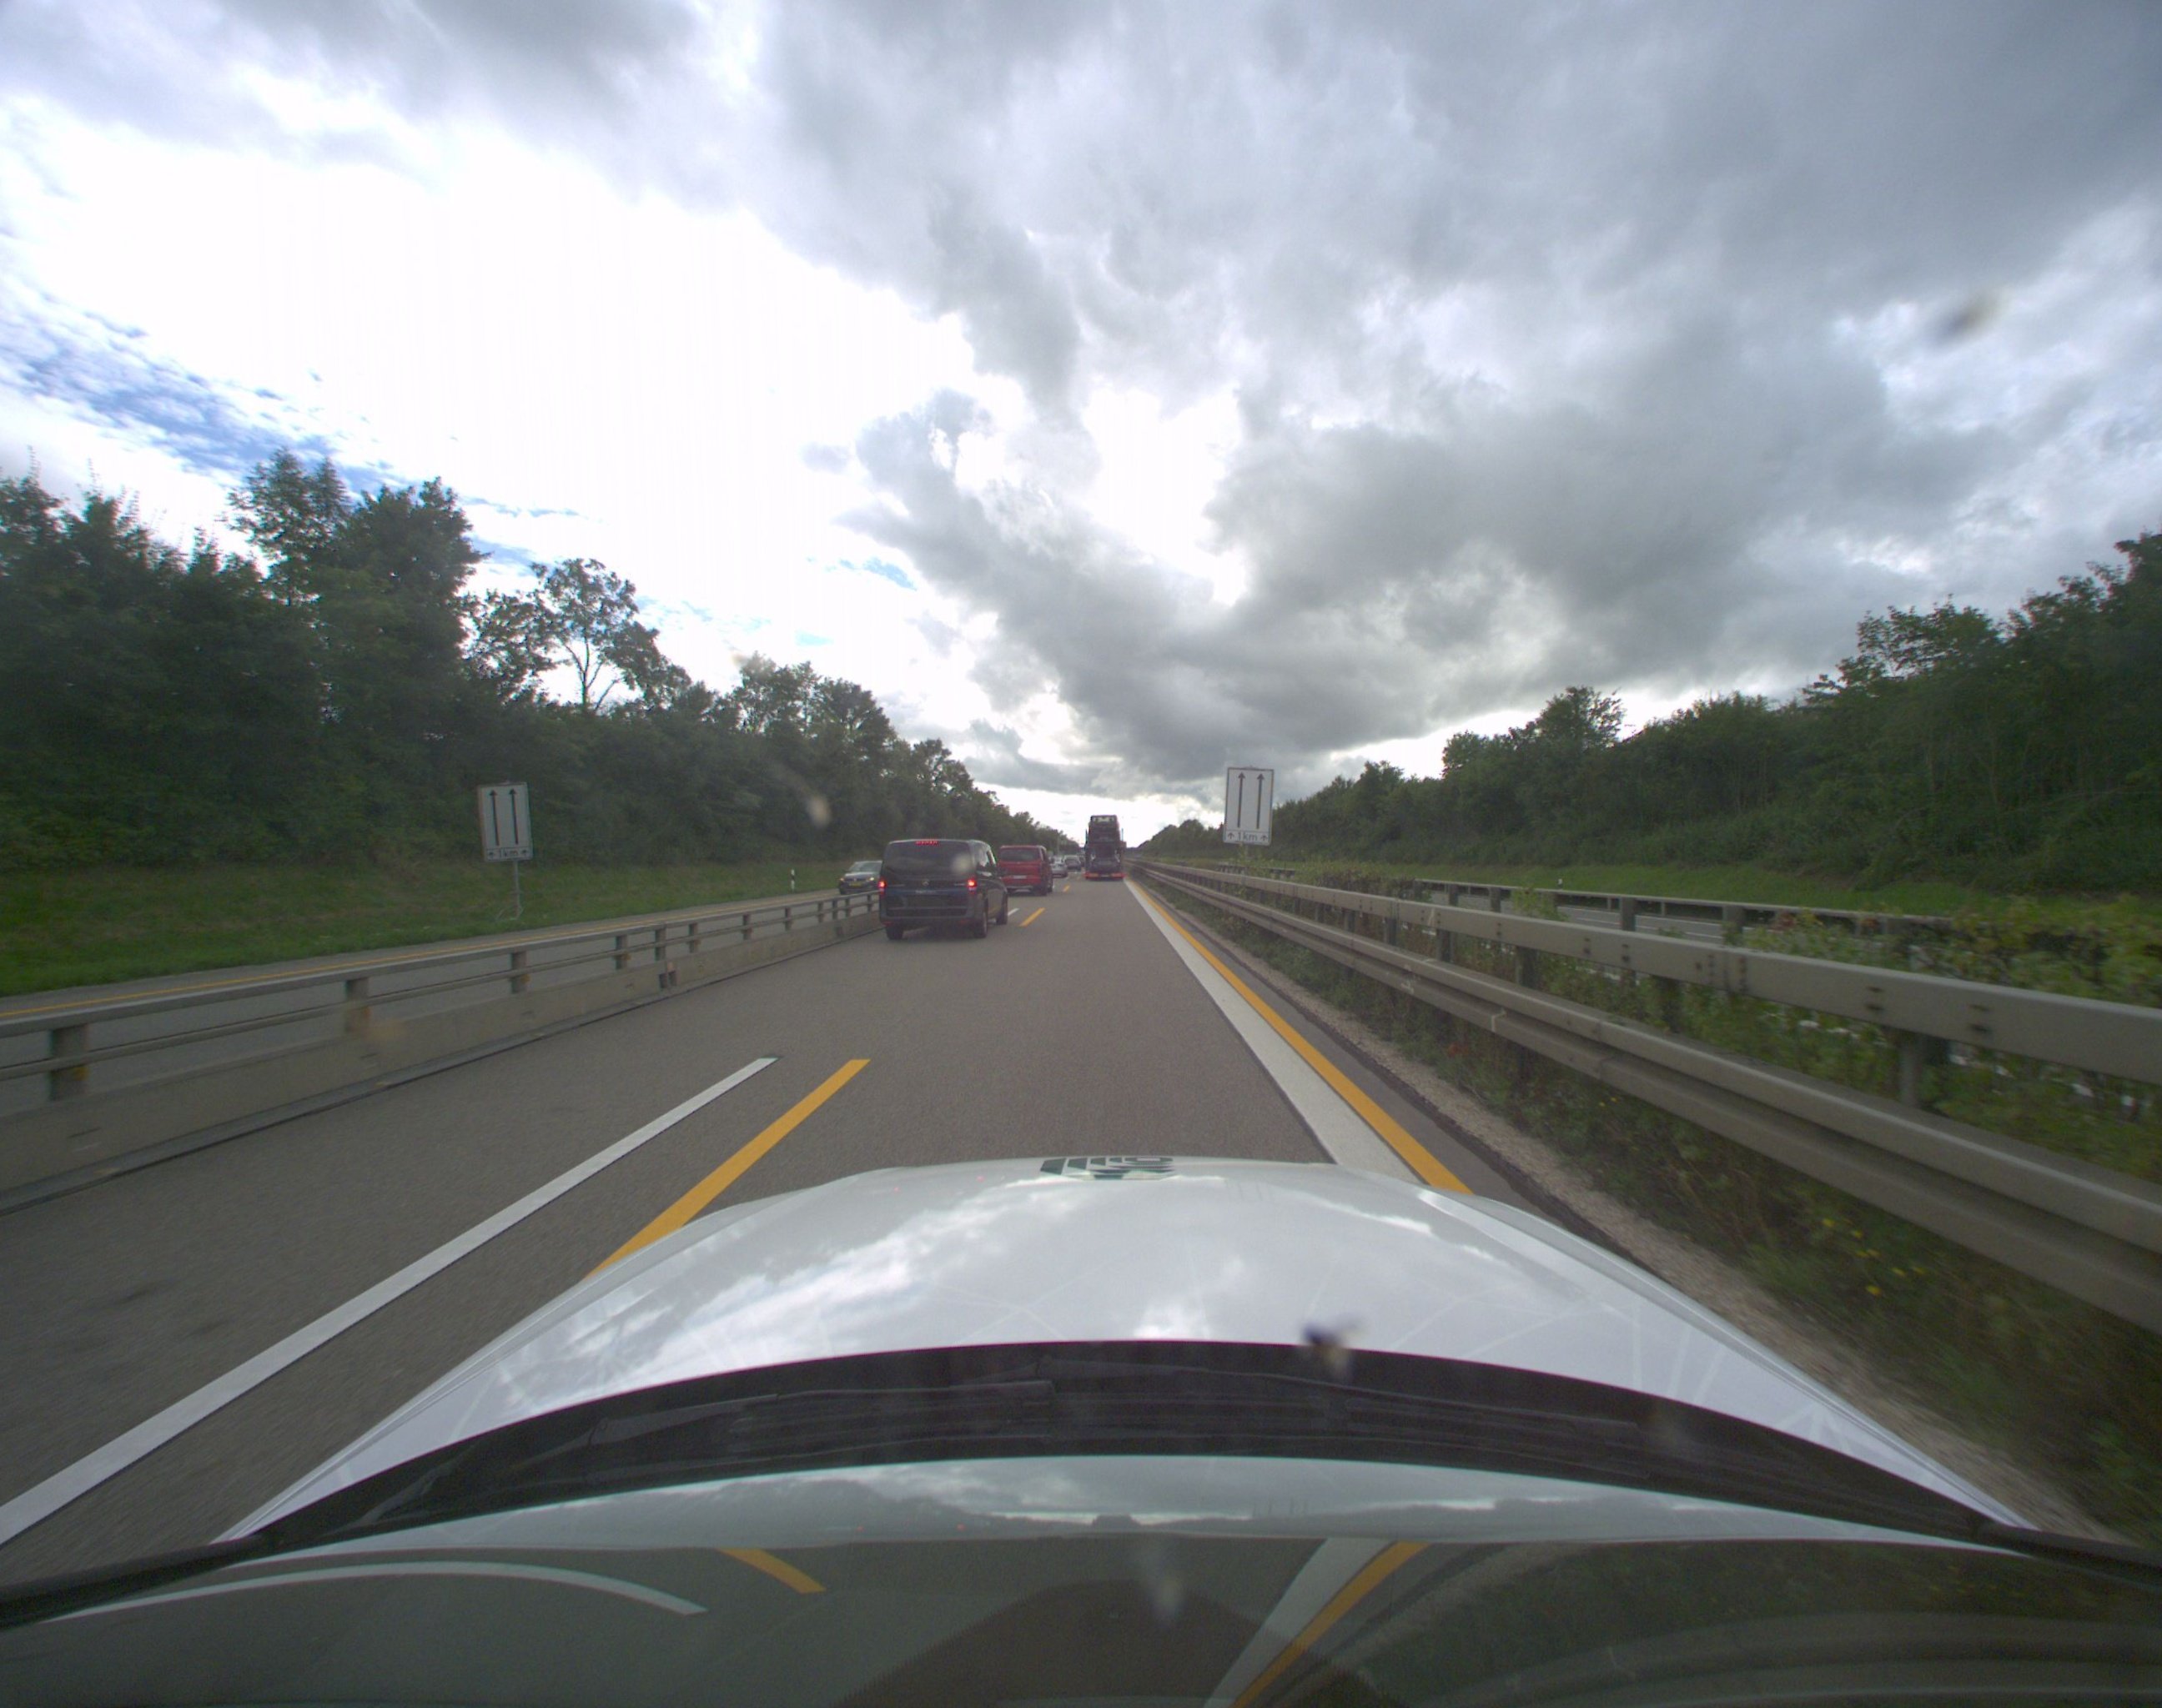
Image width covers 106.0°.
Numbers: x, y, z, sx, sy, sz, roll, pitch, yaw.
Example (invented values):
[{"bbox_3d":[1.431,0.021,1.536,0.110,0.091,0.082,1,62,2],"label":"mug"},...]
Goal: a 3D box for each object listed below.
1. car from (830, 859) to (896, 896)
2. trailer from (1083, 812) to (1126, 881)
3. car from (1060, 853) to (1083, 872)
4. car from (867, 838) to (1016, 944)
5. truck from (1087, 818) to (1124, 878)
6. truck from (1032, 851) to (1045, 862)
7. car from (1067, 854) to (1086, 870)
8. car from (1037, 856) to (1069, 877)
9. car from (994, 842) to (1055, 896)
[{"bbox_3d":[-9.234,0.954,34.779,1.662,1.440,3.788,-1,0,2],"label":"car"},{"bbox_3d":[1.605,-0.445,54.165,2.505,4.105,11.119,-1,0,2],"label":"trailer"},{"bbox_3d":[-0.901,0.800,80.385,2.024,1.757,4.578,-1,0,1],"label":"car"},{"bbox_3d":[-2.706,0.656,17.269,1.986,1.843,5.611,-1,0,2],"label":"car"},{"bbox_3d":[1.788,-0.425,58.879,2.506,4.105,5.688,-1,0,2],"label":"truck"},{"bbox_3d":[-10.331,0.637,198.562,2.480,2.718,6.670,0,0,2],"label":"truck"},{"bbox_3d":[-0.493,0.890,93.465,2.024,1.757,4.578,-1,0,1],"label":"car"},{"bbox_3d":[-2.003,0.850,59.053,2.024,1.430,4.578,-1,0,1],"label":"car"},{"bbox_3d":[-2.219,0.590,33.162,2.023,2.013,4.579,-1,0,1],"label":"car"}]
